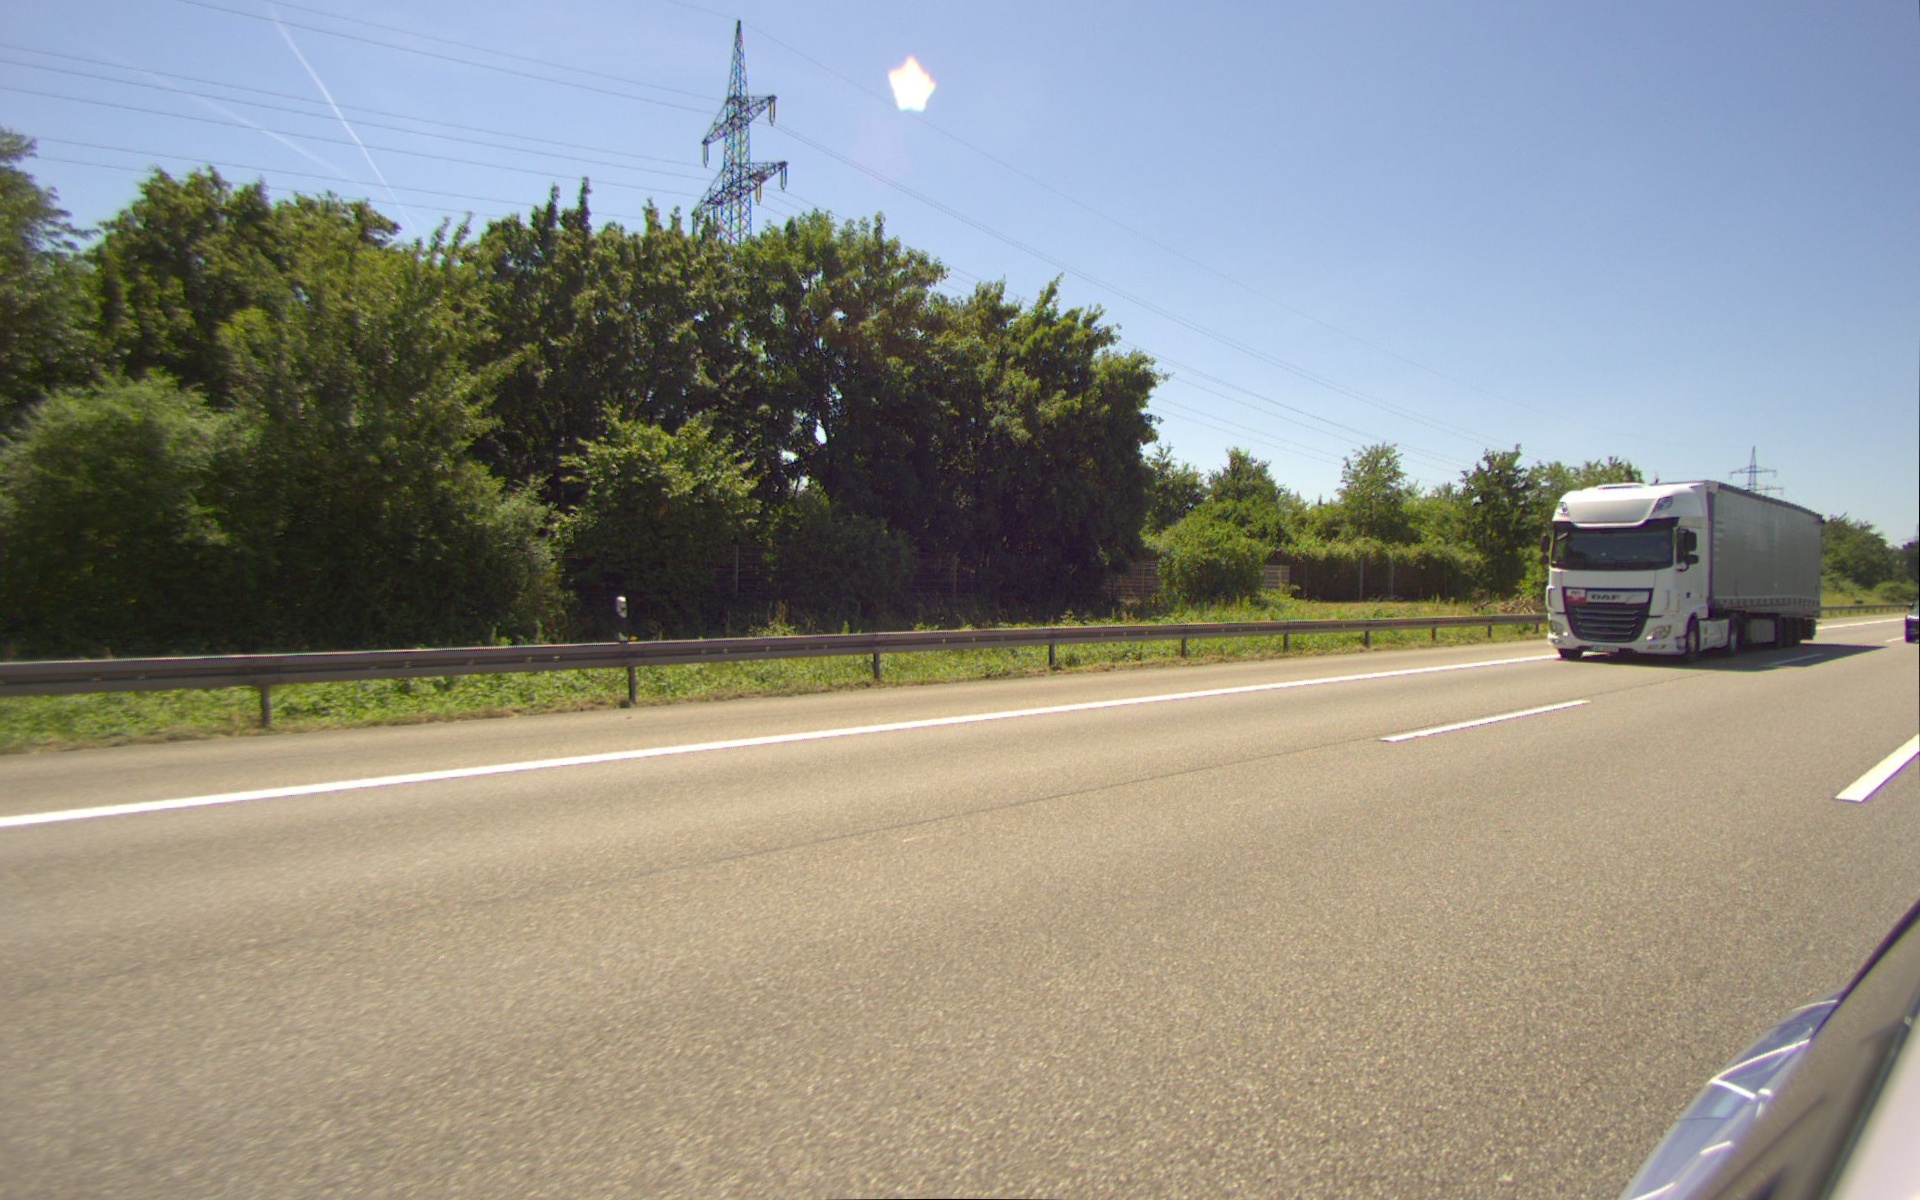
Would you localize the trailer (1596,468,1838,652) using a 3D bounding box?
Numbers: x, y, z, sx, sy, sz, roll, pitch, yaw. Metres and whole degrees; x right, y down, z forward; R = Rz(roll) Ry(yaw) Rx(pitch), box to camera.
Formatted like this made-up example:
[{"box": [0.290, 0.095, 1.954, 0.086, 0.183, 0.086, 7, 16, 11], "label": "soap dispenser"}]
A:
[{"box": [21.431, -0.960, 28.143, 12.893, 4.158, 2.741, 0, 1, -41], "label": "trailer"}]

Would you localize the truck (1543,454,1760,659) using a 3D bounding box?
[{"box": [16.217, -0.917, 23.592, 6.017, 4.171, 2.741, 0, 1, -41], "label": "truck"}]
